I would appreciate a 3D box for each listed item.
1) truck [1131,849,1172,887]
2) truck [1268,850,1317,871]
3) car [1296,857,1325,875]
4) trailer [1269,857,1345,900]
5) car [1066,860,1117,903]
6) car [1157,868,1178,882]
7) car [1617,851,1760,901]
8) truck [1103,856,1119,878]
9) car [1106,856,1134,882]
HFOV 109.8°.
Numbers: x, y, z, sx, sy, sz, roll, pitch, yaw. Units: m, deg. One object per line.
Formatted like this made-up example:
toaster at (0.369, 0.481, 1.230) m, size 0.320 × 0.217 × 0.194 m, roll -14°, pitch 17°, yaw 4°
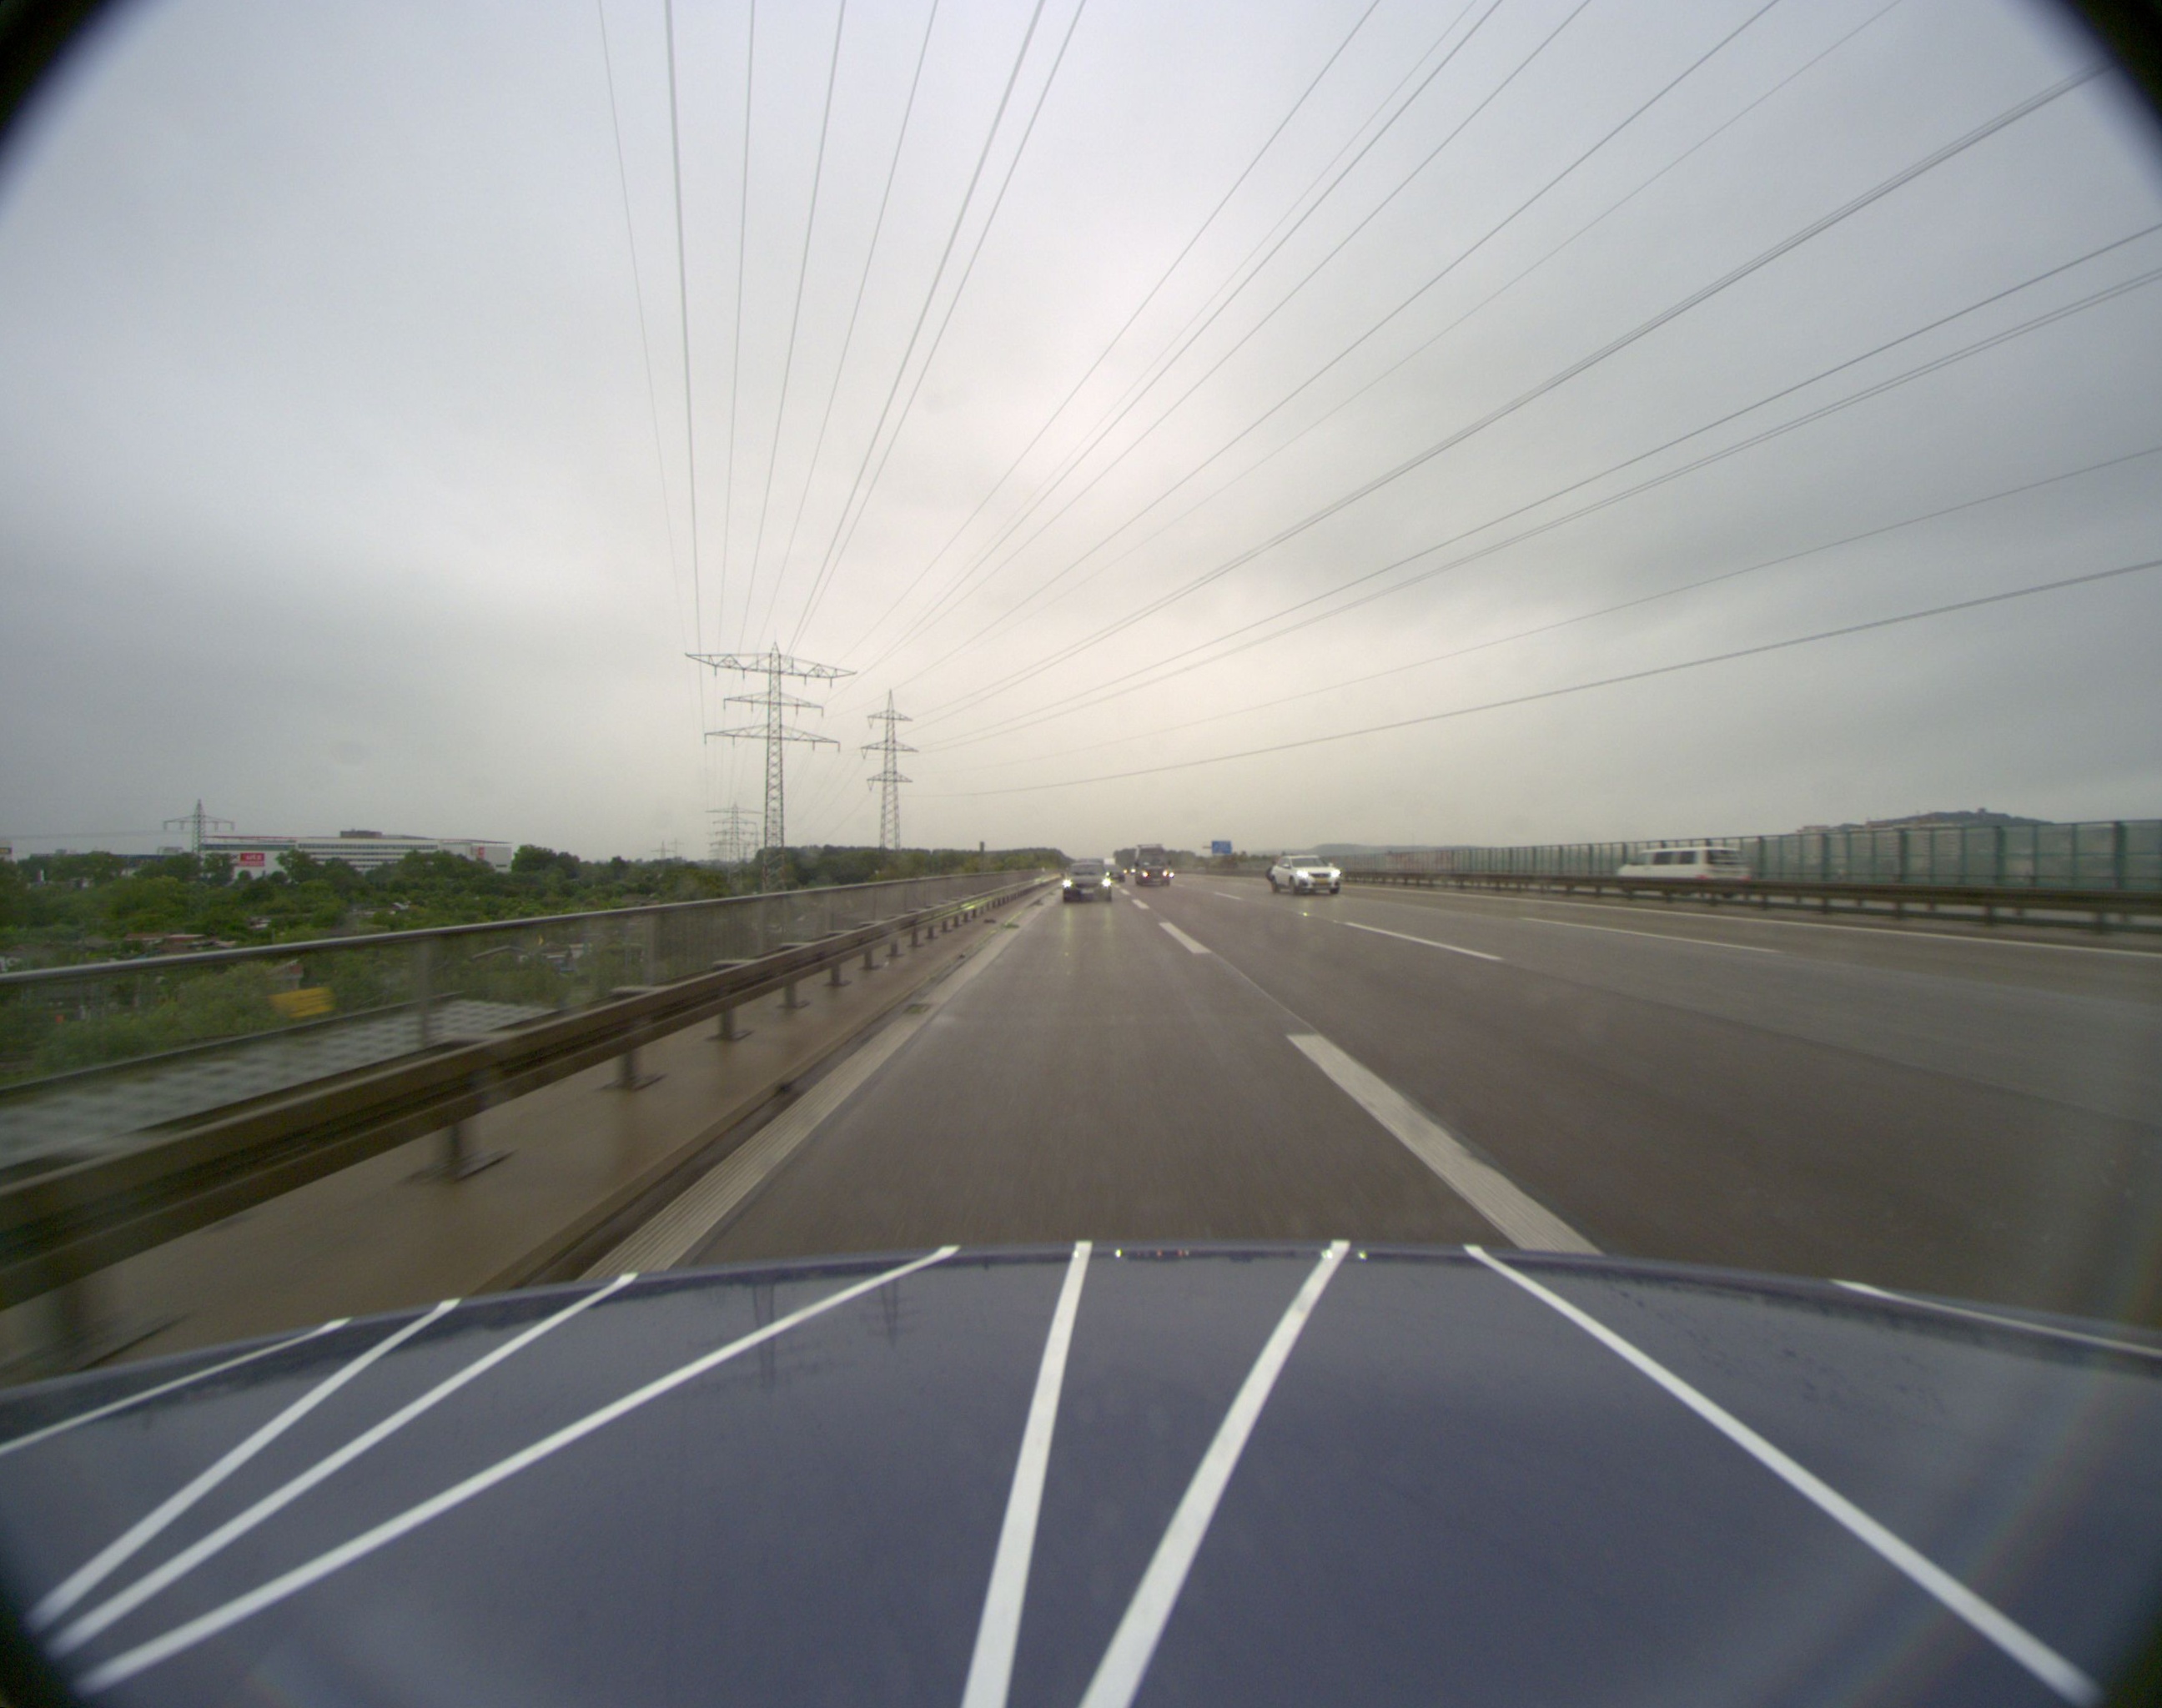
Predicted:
truck at (4.646, 0.927, 50.726) m, size 1.999 × 2.323 × 6.111 m, roll -1°, pitch -1°, yaw -1°
truck at (32.097, 0.880, 116.238) m, size 3.619 × 2.819 × 14.319 m, roll -2°, pitch 1°, yaw 1°
car at (23.696, 1.249, 78.563) m, size 1.629 × 1.575 × 3.786 m, roll -7°, pitch -1°, yaw 1°
trailer at (9.266, 0.989, 31.585) m, size 1.819 × 1.615 × 4.569 m, roll -1°, pitch -1°, yaw 1°
car at (0.380, 1.042, 30.793) m, size 1.862 × 1.531 × 4.203 m, roll -2°, pitch 0°, yaw -1°
car at (8.889, 2.140, 78.316) m, size 1.729 × 1.394 × 4.830 m, roll -2°, pitch -1°, yaw 2°
car at (23.364, 0.785, 29.476) m, size 1.926 × 1.734 × 4.467 m, roll -1°, pitch 0°, yaw 0°
truck at (5.811, 2.514, 148.380) m, size 2.704 × 4.171 × 8.924 m, roll -2°, pitch -1°, yaw 0°
car at (3.216, 1.227, 63.828) m, size 1.999 × 2.002 × 4.785 m, roll -2°, pitch 0°, yaw -1°
